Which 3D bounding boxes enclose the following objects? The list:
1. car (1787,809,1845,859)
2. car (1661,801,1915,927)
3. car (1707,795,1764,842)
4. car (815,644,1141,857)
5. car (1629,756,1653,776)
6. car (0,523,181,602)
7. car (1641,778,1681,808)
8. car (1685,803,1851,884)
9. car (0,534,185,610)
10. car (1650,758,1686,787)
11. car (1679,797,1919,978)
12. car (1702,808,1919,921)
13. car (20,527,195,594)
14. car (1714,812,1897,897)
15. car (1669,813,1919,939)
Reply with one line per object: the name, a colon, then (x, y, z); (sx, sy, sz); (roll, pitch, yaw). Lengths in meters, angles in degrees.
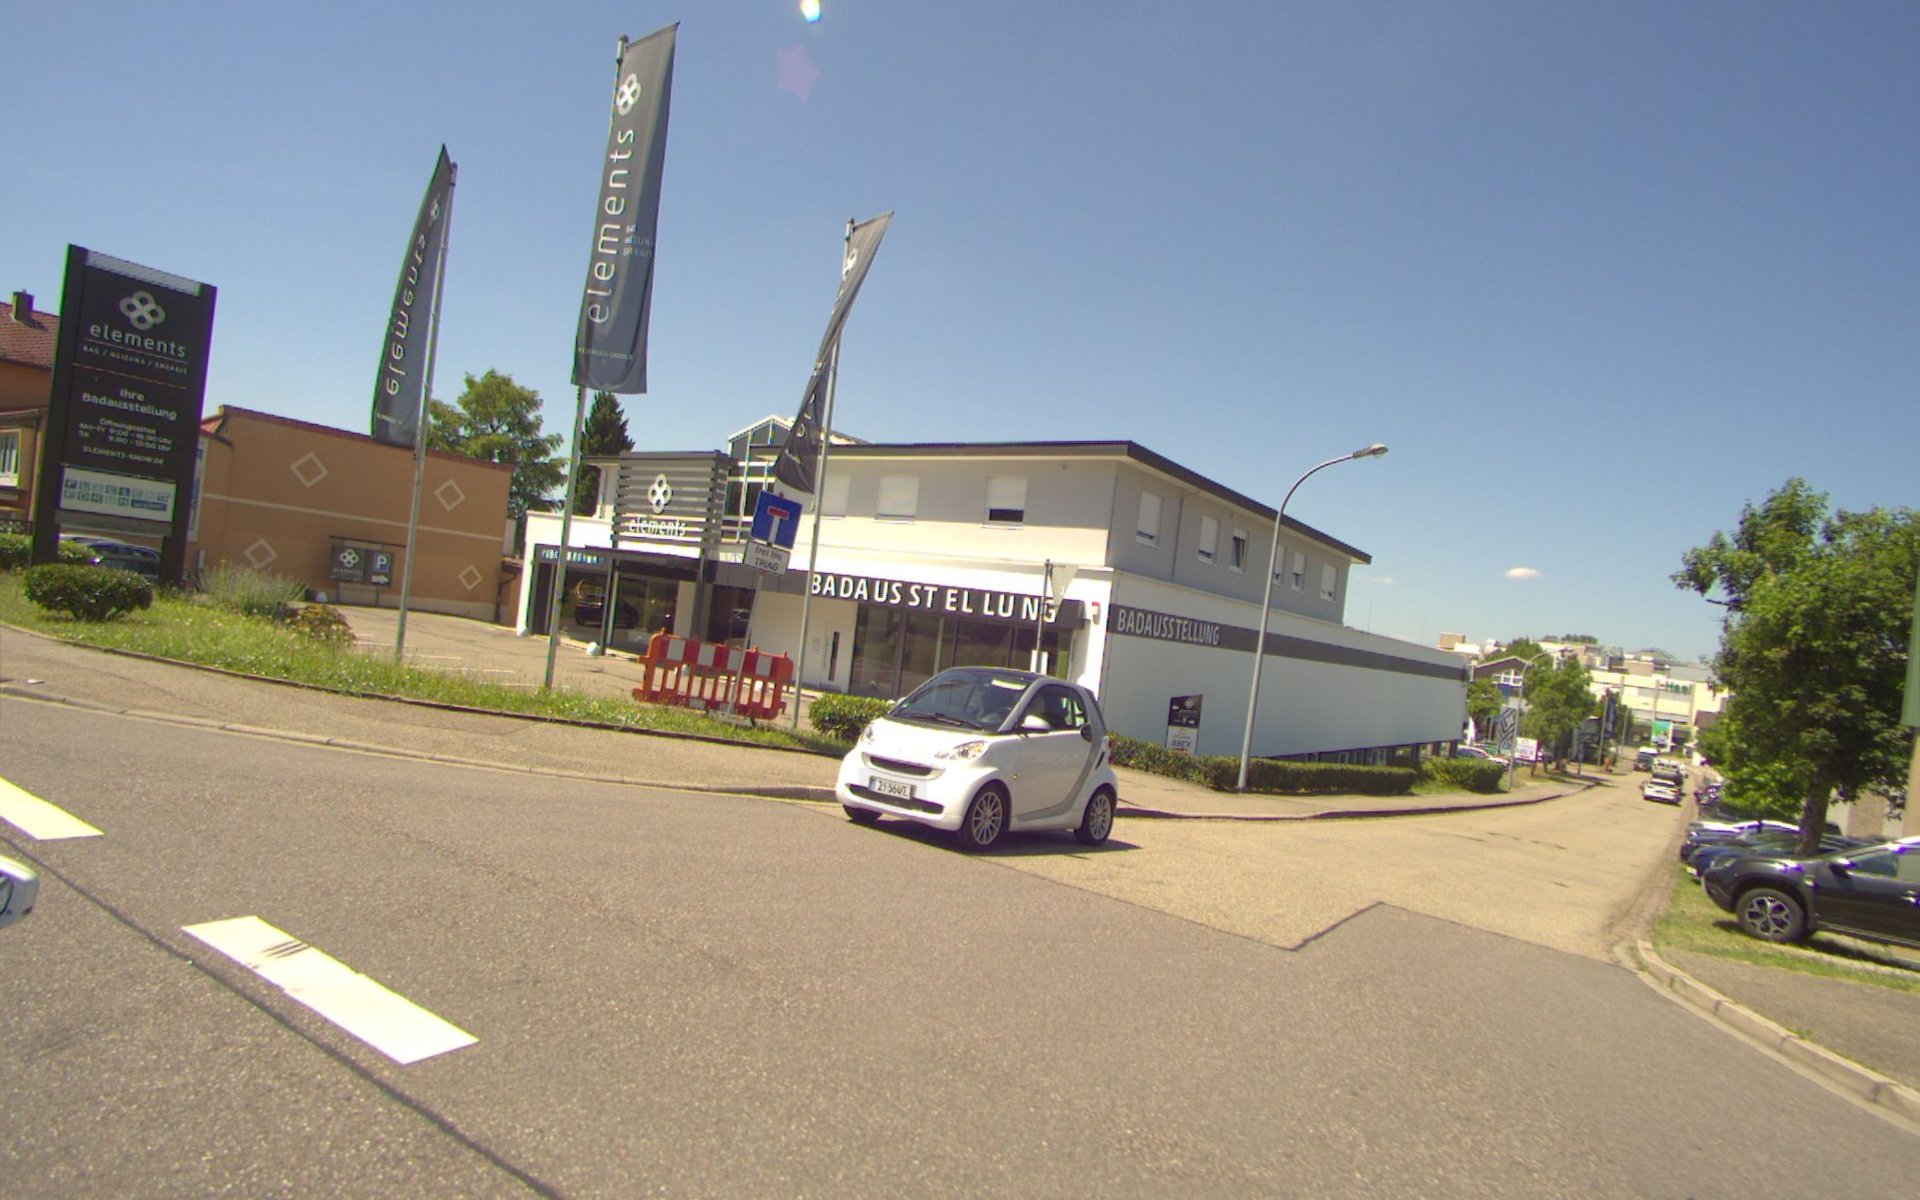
car: (38.681, 10.538, 45.467); (1.754, 1.652, 3.853); (7, -2, 41)
car: (19.026, 6.038, 23.365); (4.014, 1.551, 1.755); (12, -1, 22)
car: (36.738, 10.300, 47.626); (1.754, 1.652, 3.853); (7, -2, 41)
car: (0.277, 1.401, 9.364); (1.573, 1.534, 2.772); (4, -7, 37)
car: (76.152, 18.537, 112.450); (1.928, 1.736, 3.526); (7, -2, 37)
car: (-26.058, -1.114, 29.766); (1.859, 1.665, 4.279); (8, -2, 34)
car: (45.625, 12.501, 65.445); (1.739, 1.482, 3.910); (7, -2, 39)
car: (25.899, 7.757, 32.371); (3.942, 1.541, 1.773); (7, -2, 40)
car: (-23.544, -0.722, 27.240); (1.673, 1.433, 3.623); (7, -2, 38)
car: (55.741, 13.576, 79.204); (1.858, 1.869, 3.987); (7, -2, 39)
car: (11.897, 3.747, 12.603); (1.820, 1.674, 4.319); (12, -5, -41)
car: (22.148, 6.776, 25.971); (4.331, 1.551, 1.874); (12, -2, 25)
car: (-29.332, -1.320, 34.720); (1.862, 1.618, 4.258); (7, -1, 39)
car: (25.007, 7.475, 29.910); (3.942, 1.404, 1.773); (7, -2, 40)
car: (17.631, 5.740, 21.190); (3.927, 1.387, 1.719); (11, -2, 22)
